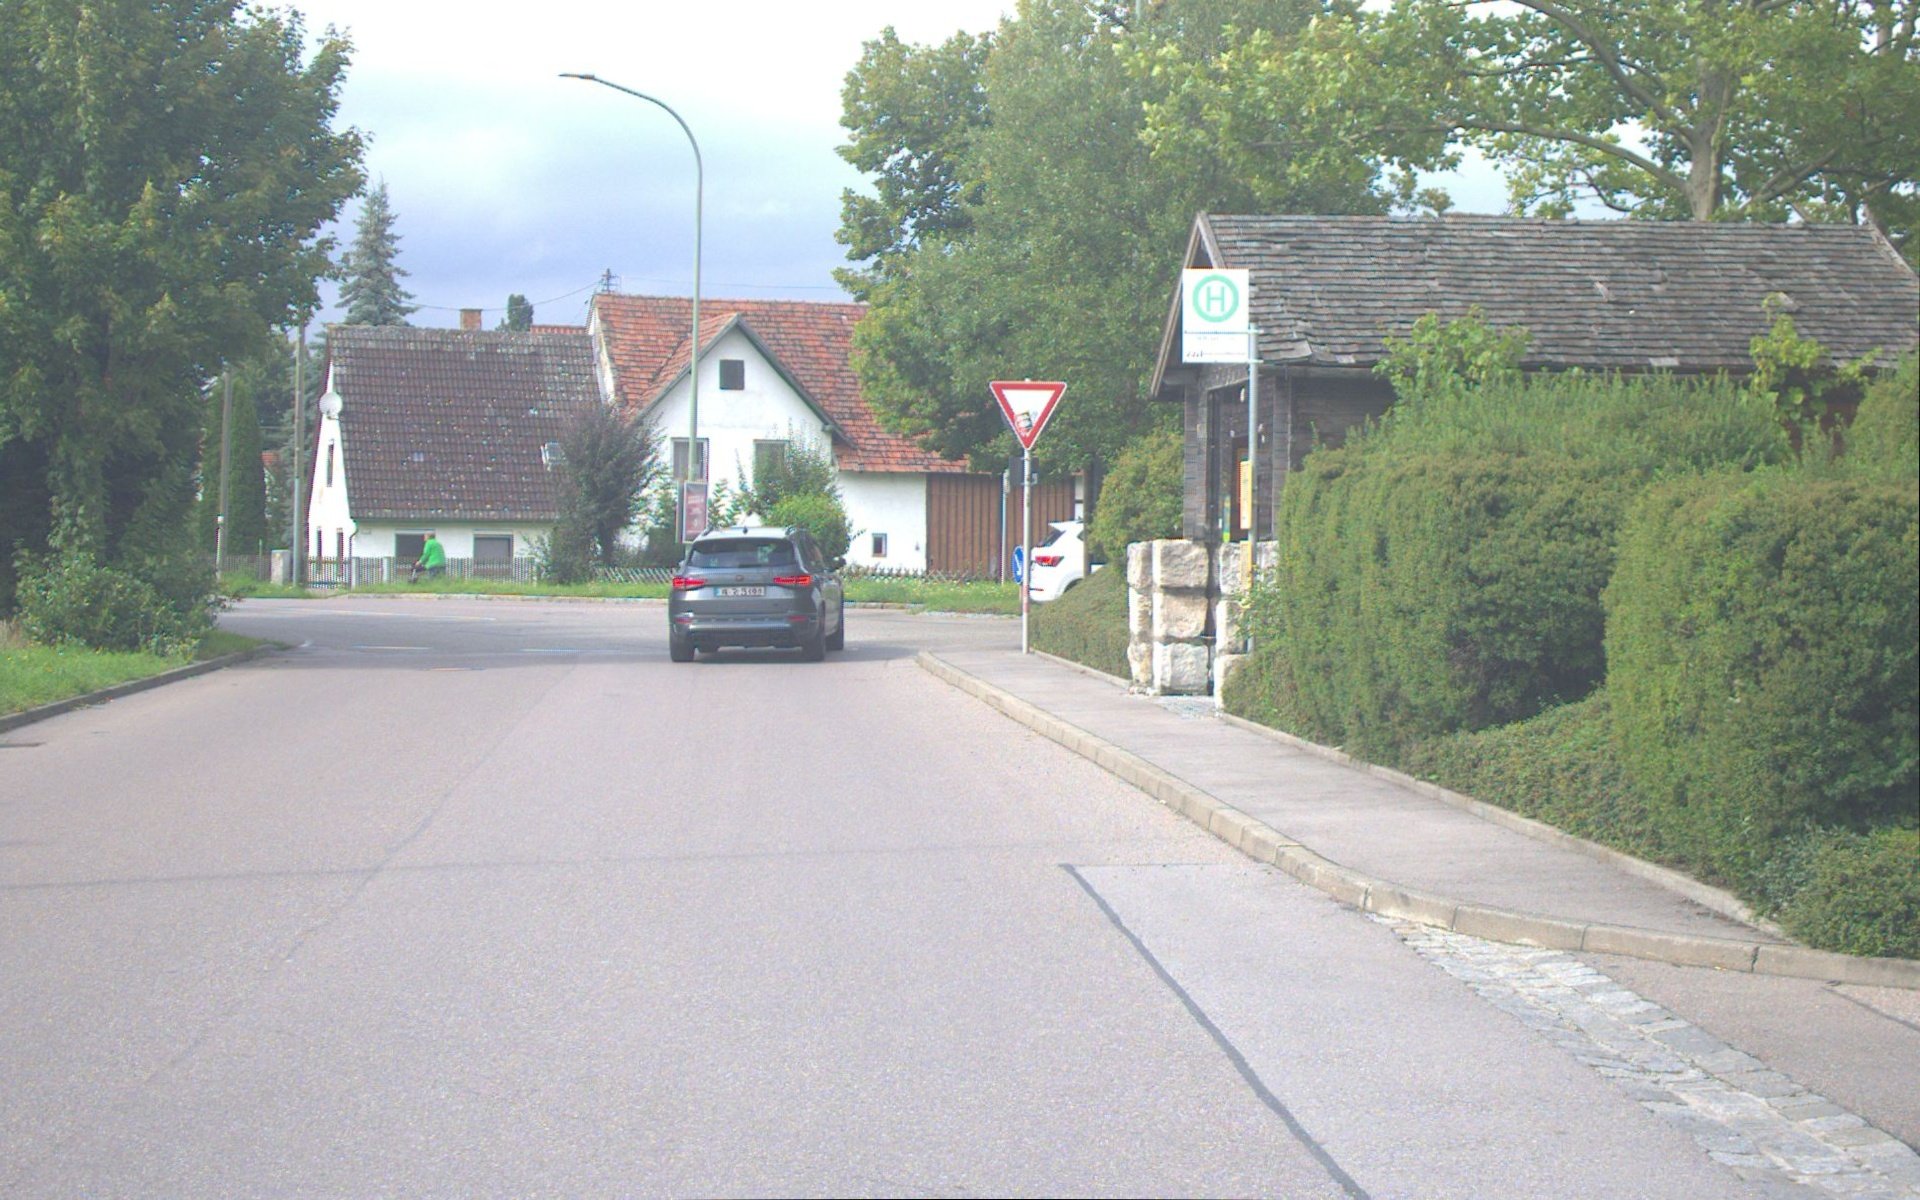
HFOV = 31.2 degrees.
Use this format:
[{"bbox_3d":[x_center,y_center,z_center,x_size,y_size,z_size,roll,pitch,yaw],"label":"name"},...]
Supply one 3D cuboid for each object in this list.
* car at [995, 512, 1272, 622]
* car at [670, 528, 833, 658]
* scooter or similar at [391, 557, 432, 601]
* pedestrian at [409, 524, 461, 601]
[{"bbox_3d":[2.557,-0.500,50.715,3.977,1.510,1.804,1,1,3],"label":"car"},{"bbox_3d":[-2.446,-0.112,41.002,1.798,1.457,3.662,0,1,-1],"label":"car"},{"bbox_3d":[-12.385,-0.472,77.576,0.630,0.945,0.622,5,-2,-36],"label":"scooter or similar"},{"bbox_3d":[-11.770,-0.845,77.073,0.788,1.659,0.712,5,-2,-36],"label":"pedestrian"}]
